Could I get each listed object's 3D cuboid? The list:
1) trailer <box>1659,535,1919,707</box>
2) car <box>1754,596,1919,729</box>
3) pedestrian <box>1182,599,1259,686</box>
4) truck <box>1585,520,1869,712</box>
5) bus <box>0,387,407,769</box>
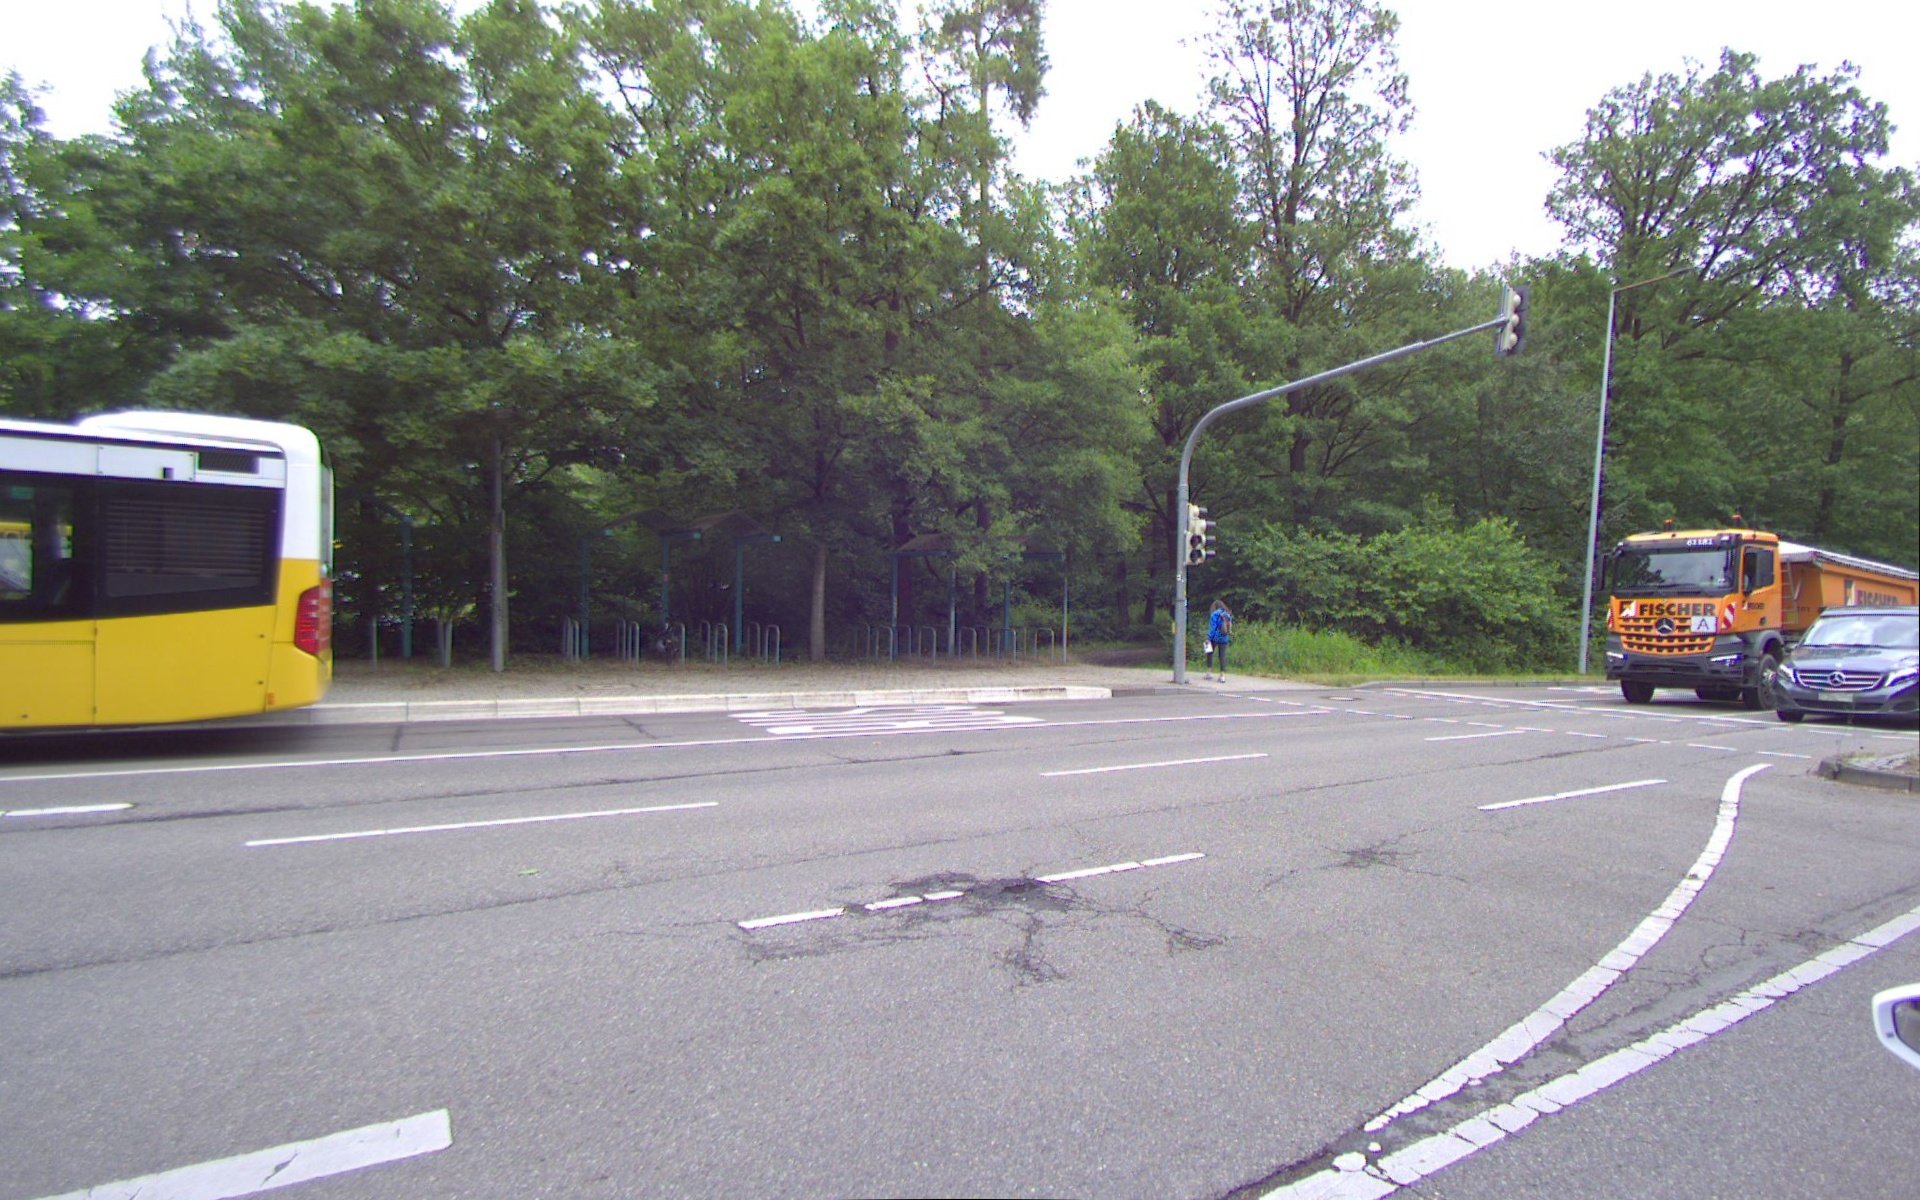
[{"bbox_3d":[19.471,0.592,23.256,8.485,3.362,2.720,3,-2,-36],"label":"trailer"},{"bbox_3d":[15.303,1.000,16.684,4.789,1.918,1.981,2,-2,-34],"label":"car"},{"bbox_3d":[5.366,0.848,20.730,1.055,1.671,1.043,0,4,-27],"label":"pedestrian"},{"bbox_3d":[15.985,0.422,20.754,7.090,3.362,2.721,3,-2,-35],"label":"truck"},{"bbox_3d":[-9.849,-0.221,8.917,8.592,3.168,2.885,1,0,-30],"label":"bus"}]
